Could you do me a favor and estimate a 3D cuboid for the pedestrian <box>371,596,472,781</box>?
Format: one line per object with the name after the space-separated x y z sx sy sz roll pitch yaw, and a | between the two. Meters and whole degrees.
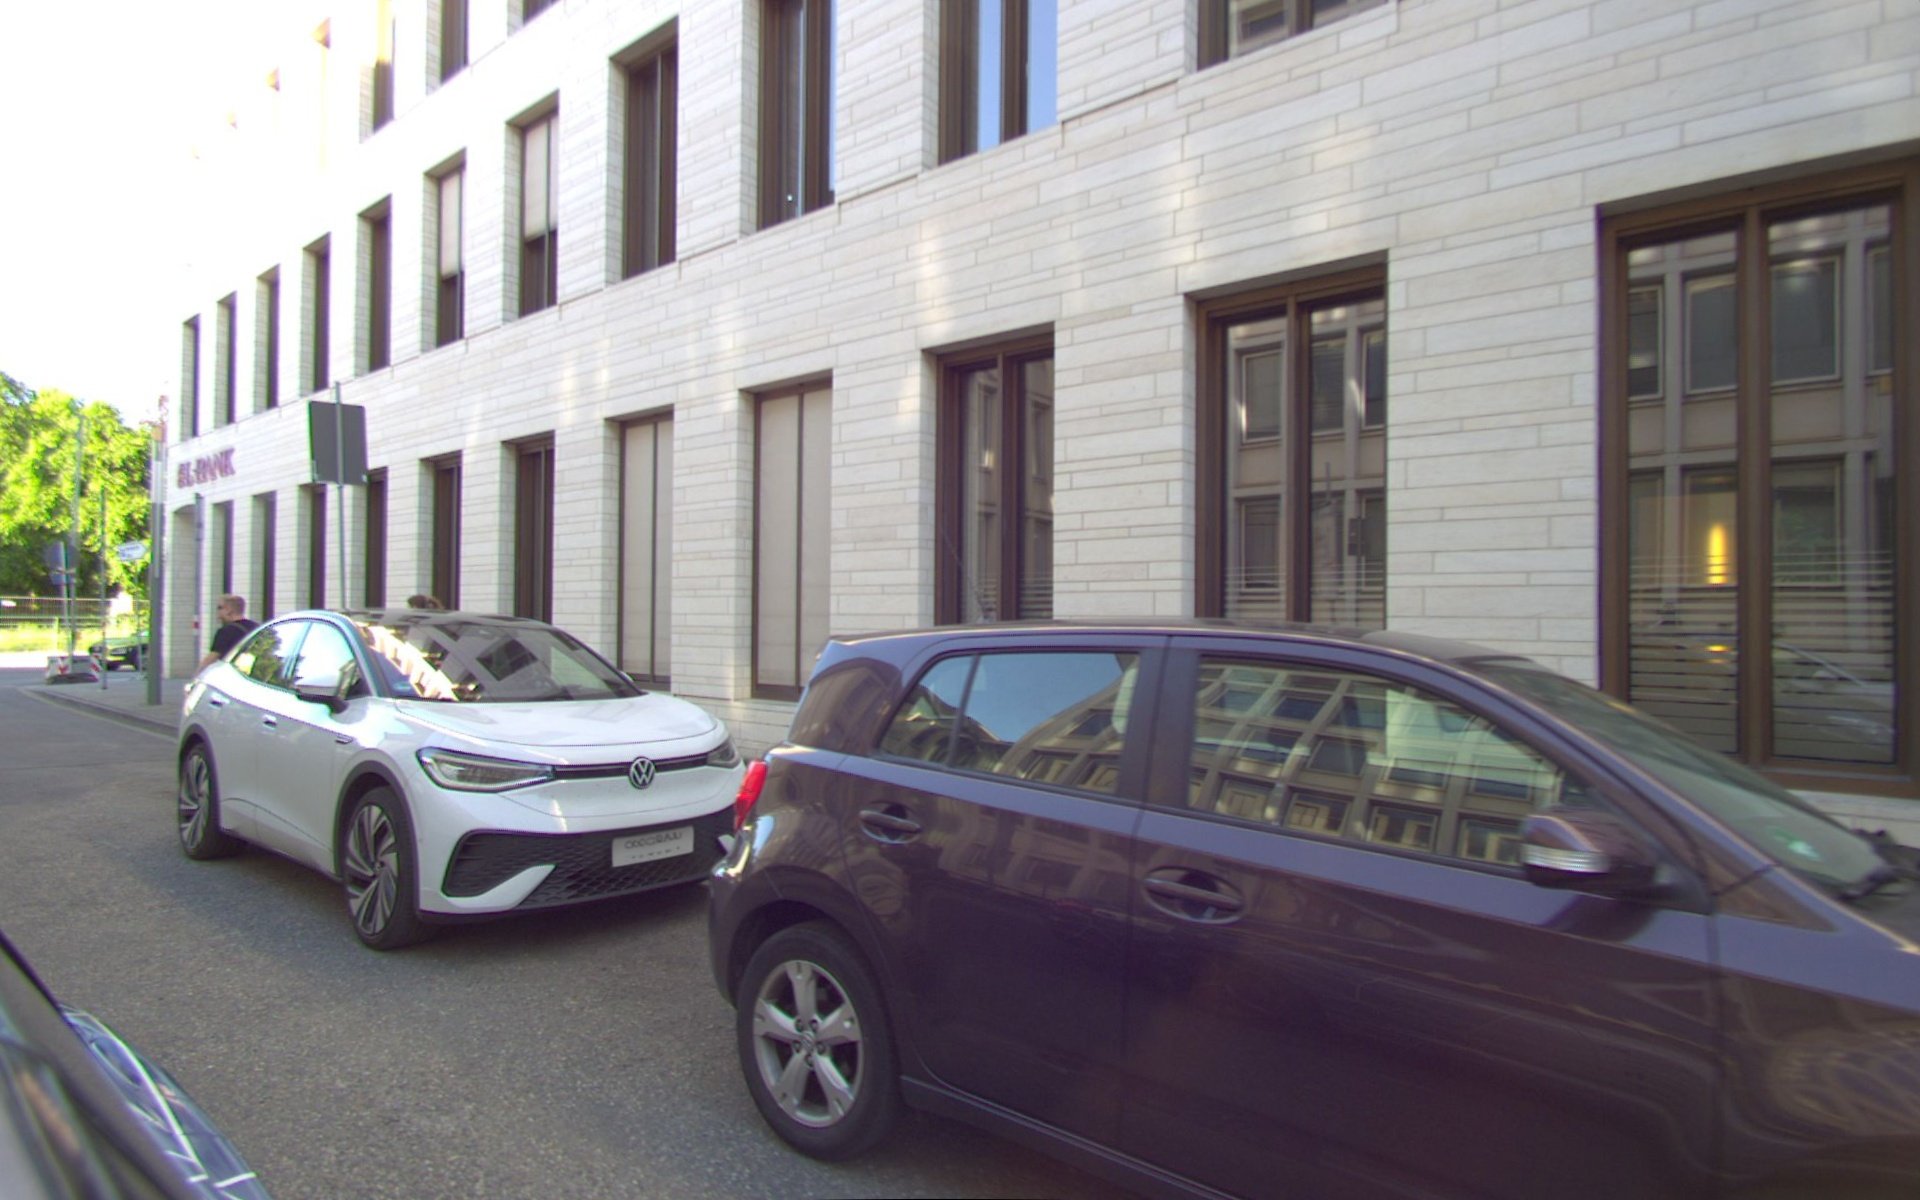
-5.522 0.866 10.371 0.816 1.803 0.637 0 -1 39 | pedestrian

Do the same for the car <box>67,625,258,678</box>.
-25.223 1.568 32.221 1.986 1.471 4.404 0 0 21 | car

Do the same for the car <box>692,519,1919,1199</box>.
1.420 0.693 2.413 4.258 1.553 1.805 -1 -2 38 | car

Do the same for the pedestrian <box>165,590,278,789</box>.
-7.023 0.828 9.631 0.575 1.803 0.635 0 -4 39 | pedestrian

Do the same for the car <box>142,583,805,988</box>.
-3.111 0.793 6.027 4.441 1.553 1.804 -1 -3 39 | car
